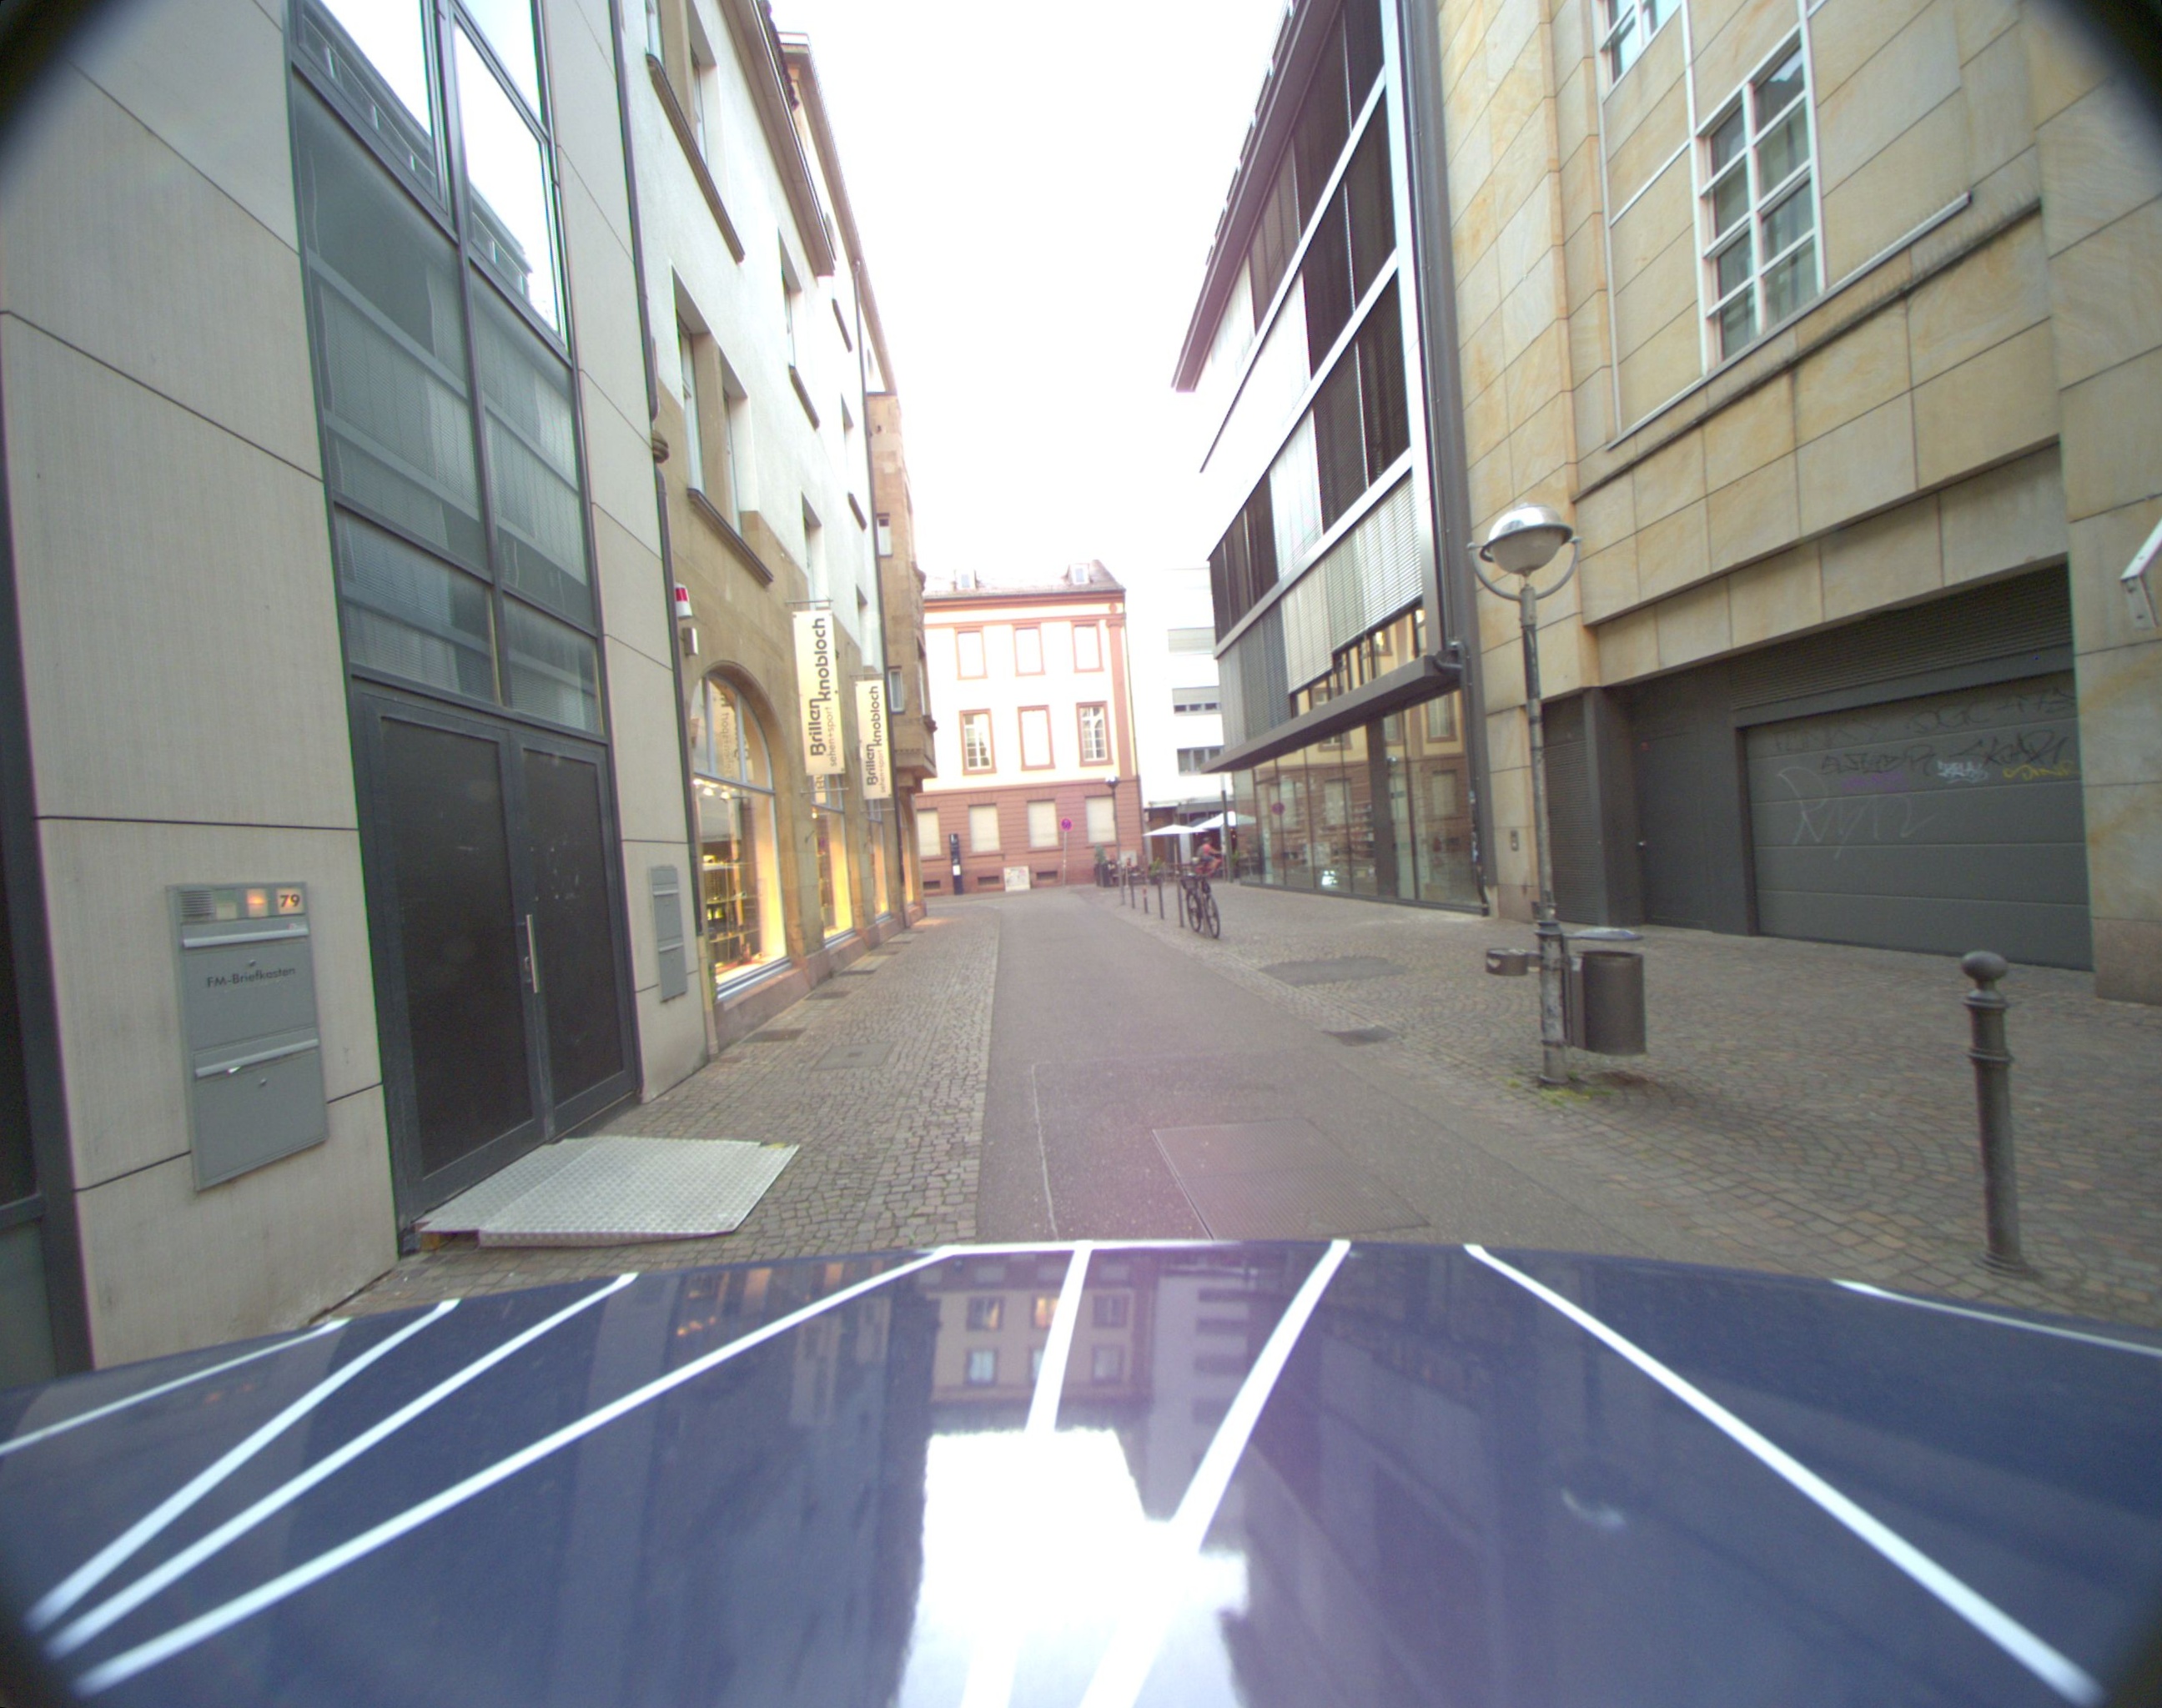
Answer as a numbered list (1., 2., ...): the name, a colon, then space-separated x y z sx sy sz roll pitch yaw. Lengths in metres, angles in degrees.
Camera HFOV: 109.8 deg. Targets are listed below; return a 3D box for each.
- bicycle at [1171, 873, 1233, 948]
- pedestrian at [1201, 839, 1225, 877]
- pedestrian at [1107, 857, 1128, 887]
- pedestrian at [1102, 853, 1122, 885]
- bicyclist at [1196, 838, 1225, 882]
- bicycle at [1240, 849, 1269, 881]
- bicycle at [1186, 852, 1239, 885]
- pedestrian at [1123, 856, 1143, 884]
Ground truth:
1. bicycle: 2.051 0.931 13.097 0.411 1.126 1.929 -5 1 -9
2. pedestrian: 5.948 0.175 34.382 0.725 1.639 0.792 -5 1 -10
3. pedestrian: 1.572 0.760 32.600 0.674 1.177 0.792 -5 2 -10
4. pedestrian: 1.390 0.667 33.713 0.673 1.324 0.792 -4 2 -7
5. bicyclist: 5.267 0.229 30.883 0.900 1.694 0.630 -5 1 -4
6. bicycle: 6.420 0.417 28.213 0.467 1.129 1.702 -5 -2 -5
7. bicycle: 5.335 0.569 30.891 1.980 1.143 0.578 -5 1 -4
8. pedestrian: 2.294 0.696 33.613 0.673 1.177 0.792 -4 2 -7
